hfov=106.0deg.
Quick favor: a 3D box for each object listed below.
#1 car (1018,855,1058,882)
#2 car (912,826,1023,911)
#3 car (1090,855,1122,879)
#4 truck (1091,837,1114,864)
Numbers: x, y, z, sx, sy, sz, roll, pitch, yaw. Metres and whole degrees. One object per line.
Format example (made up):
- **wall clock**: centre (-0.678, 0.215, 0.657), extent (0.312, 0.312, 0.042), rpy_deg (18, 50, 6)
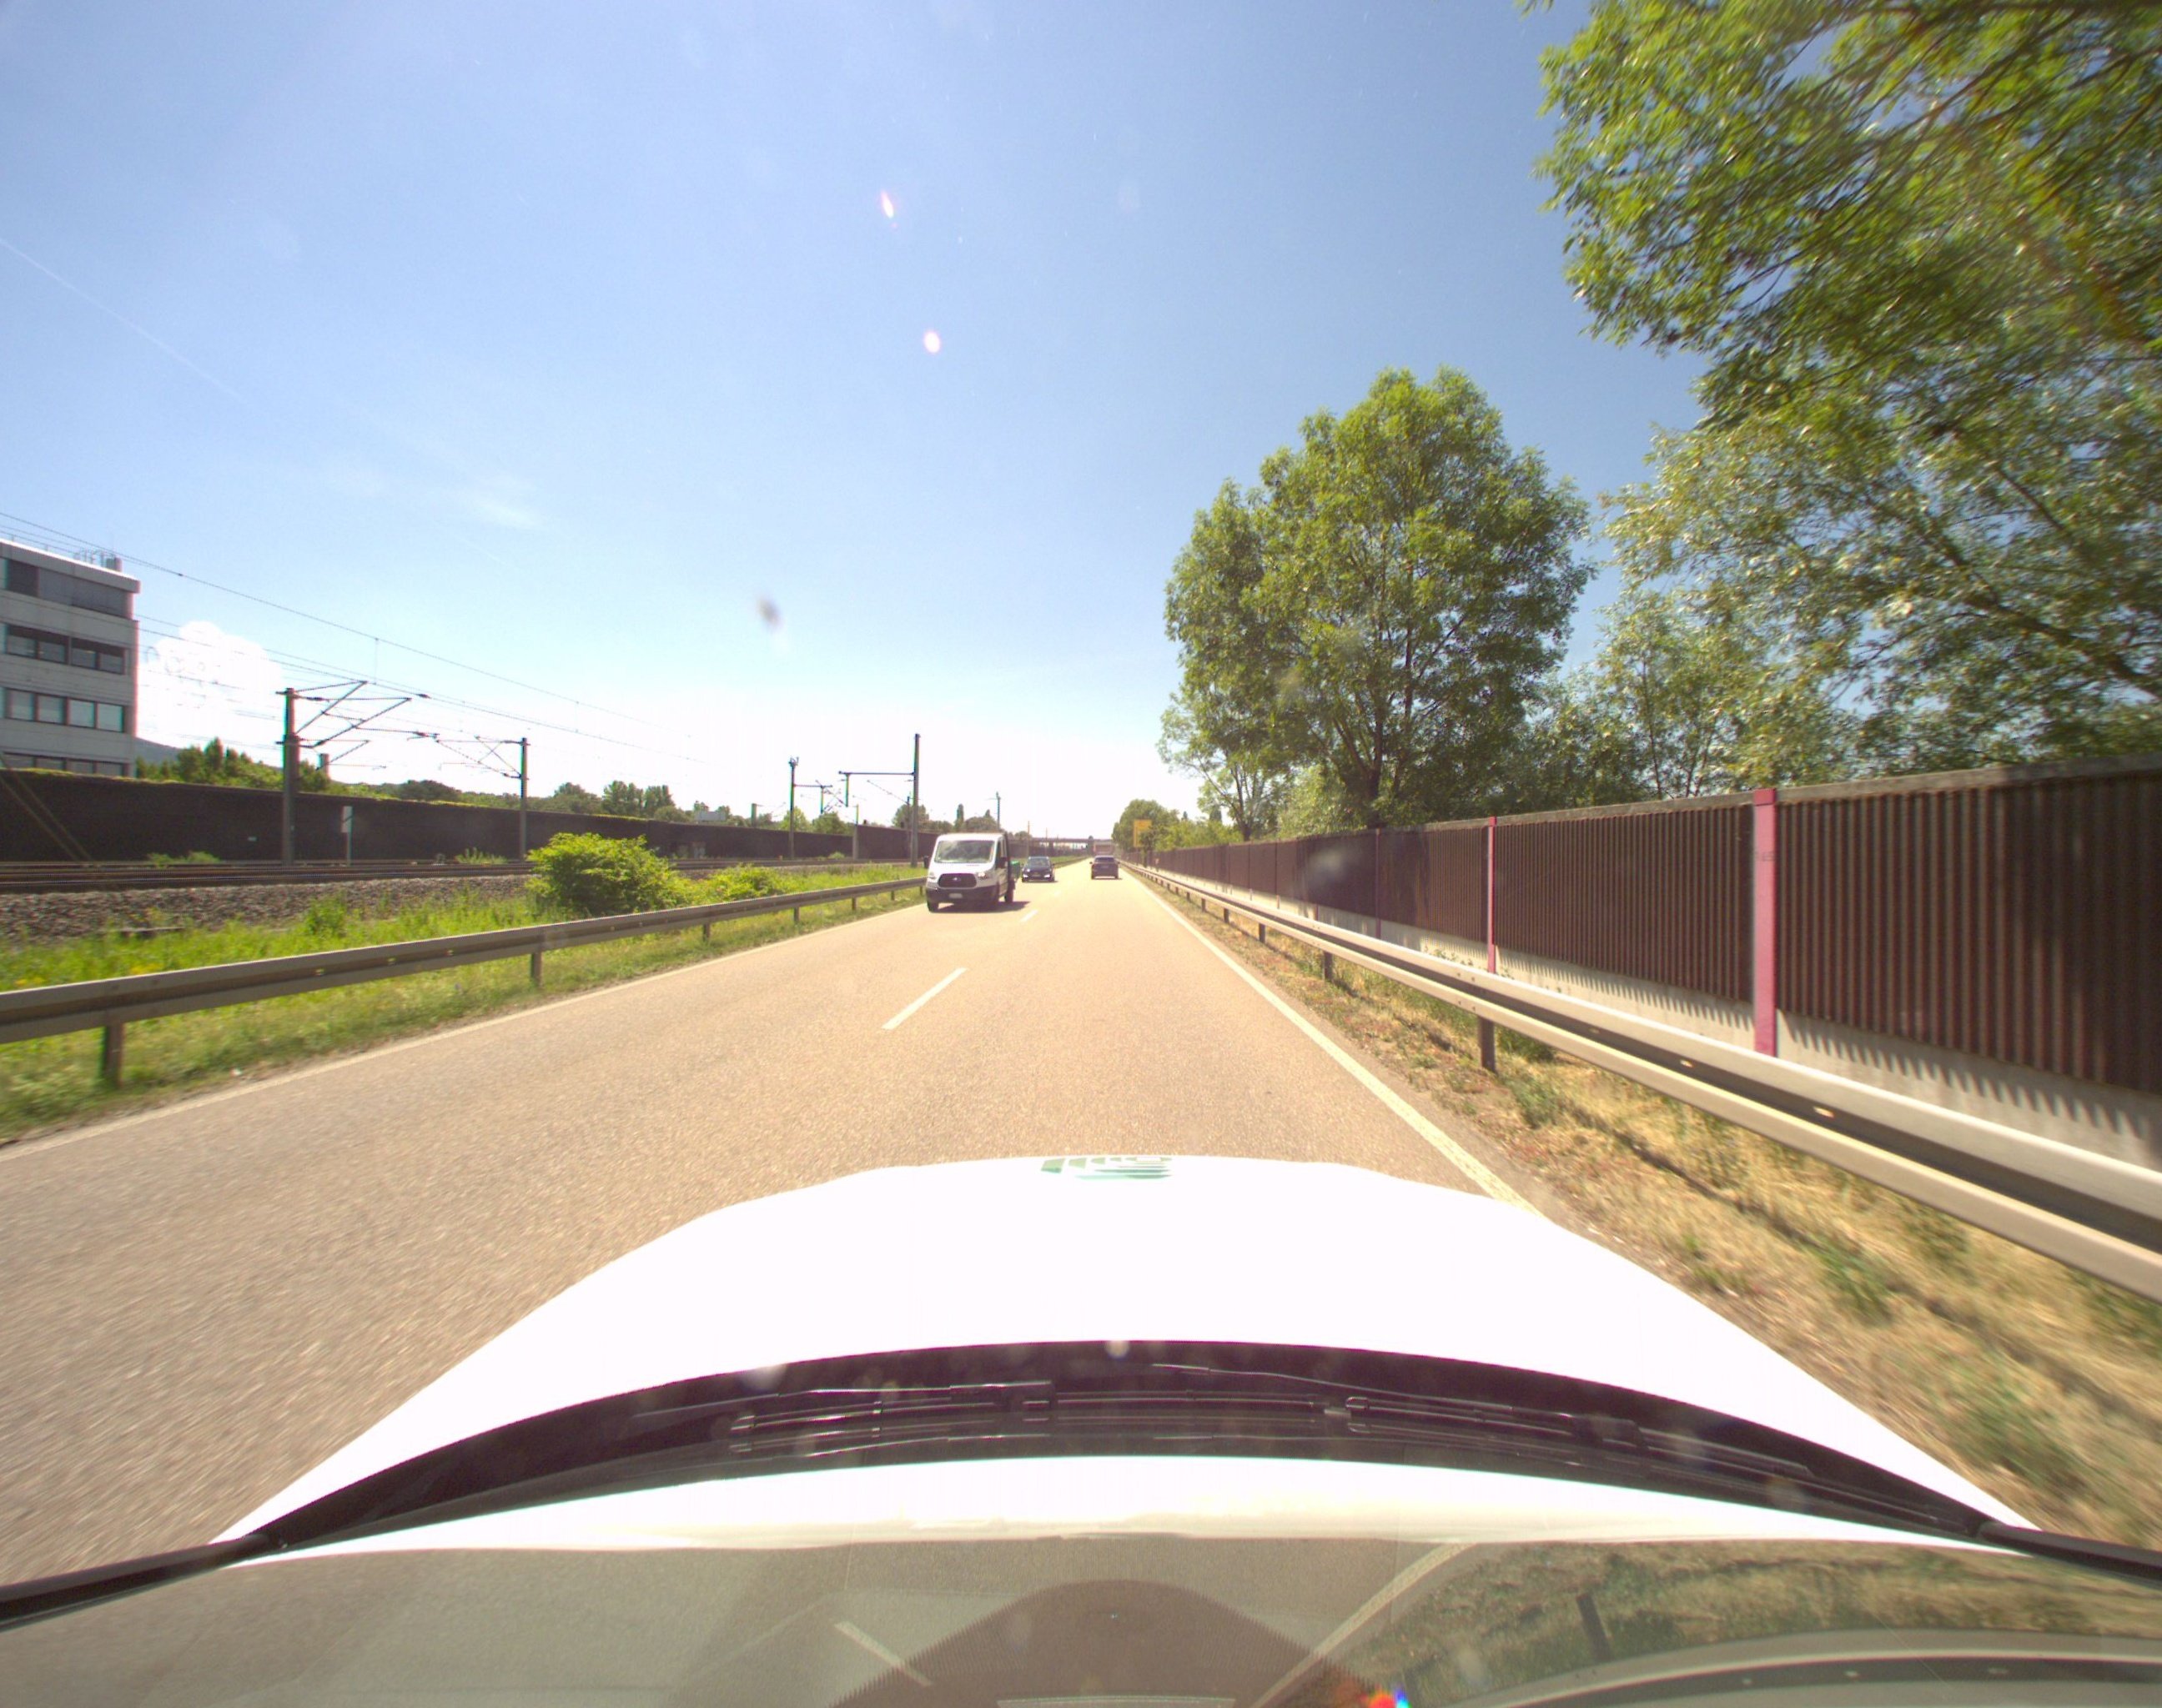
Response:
- **car**: centre (-2.501, 0.819, 48.235), extent (1.967, 1.508, 4.164), rpy_deg (0, 0, 2)
- **car**: centre (-3.295, 0.394, 25.094), extent (2.252, 2.287, 6.239), rpy_deg (0, 0, 3)
- **car**: centre (1.622, 0.824, 54.174), extent (1.987, 1.508, 3.999), rpy_deg (-1, 0, 0)
- **truck**: centre (2.851, -0.428, 107.065), extent (2.760, 3.425, 10.824), rpy_deg (-1, 0, 2)
